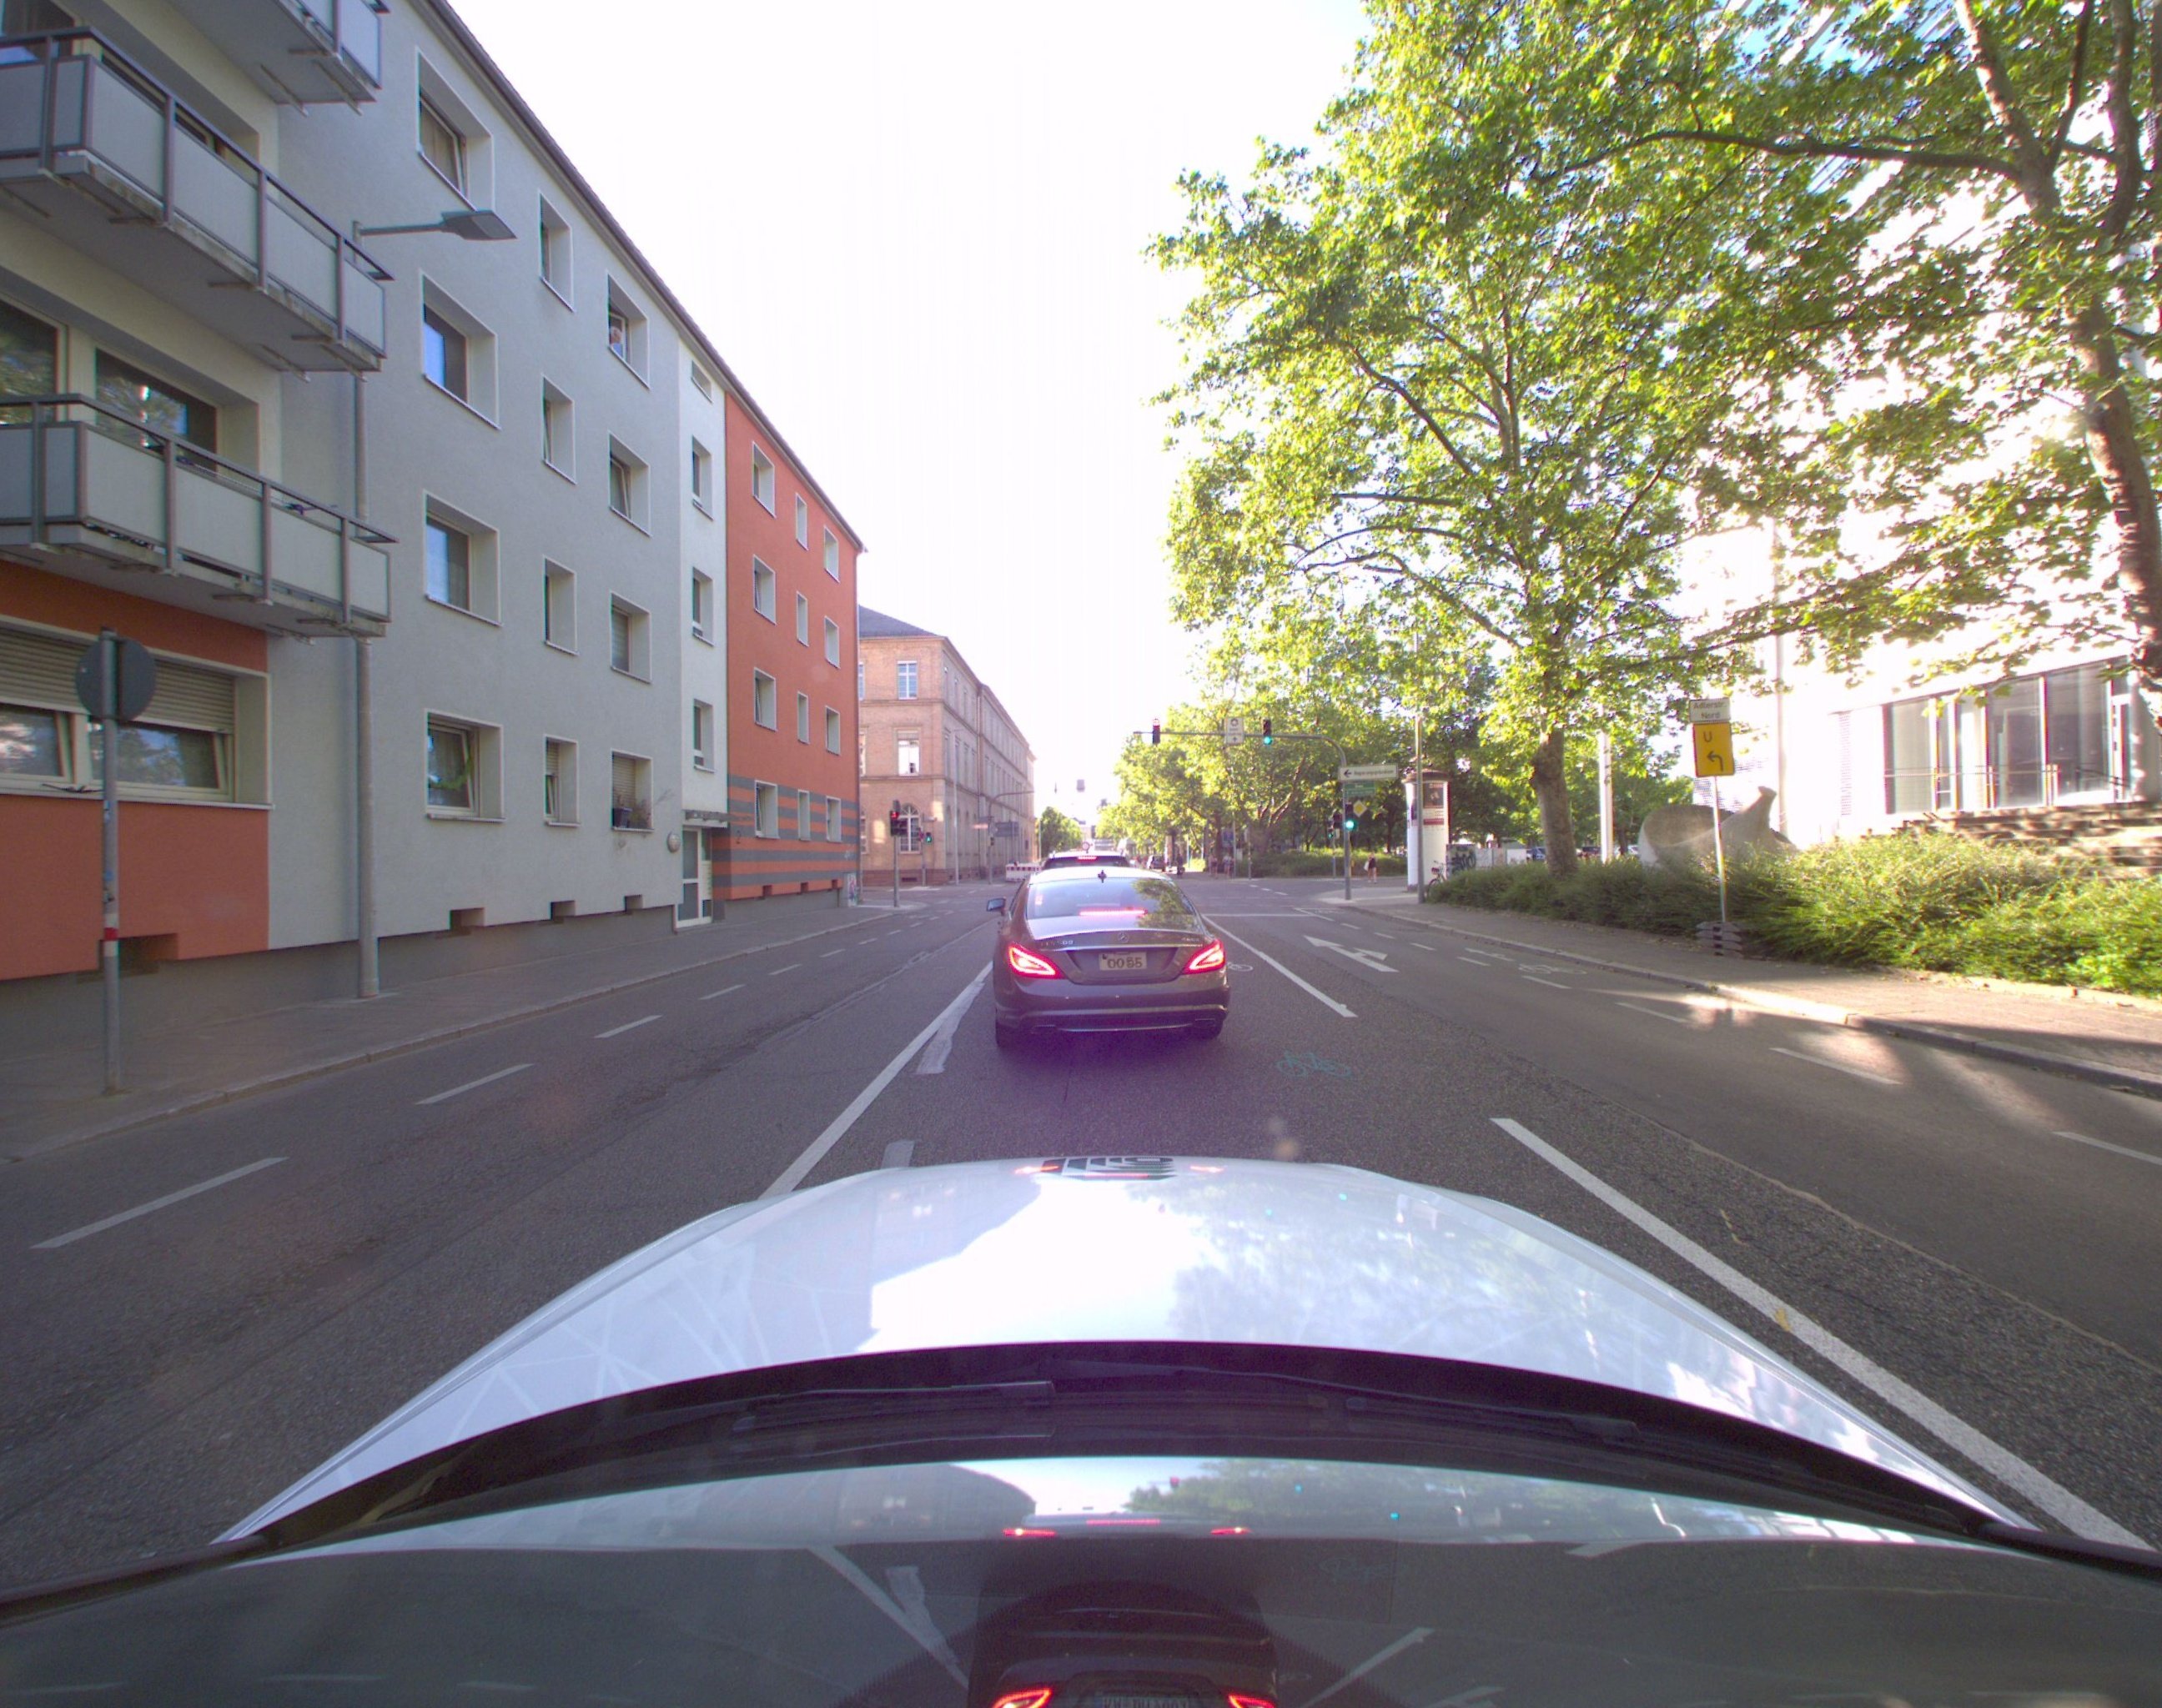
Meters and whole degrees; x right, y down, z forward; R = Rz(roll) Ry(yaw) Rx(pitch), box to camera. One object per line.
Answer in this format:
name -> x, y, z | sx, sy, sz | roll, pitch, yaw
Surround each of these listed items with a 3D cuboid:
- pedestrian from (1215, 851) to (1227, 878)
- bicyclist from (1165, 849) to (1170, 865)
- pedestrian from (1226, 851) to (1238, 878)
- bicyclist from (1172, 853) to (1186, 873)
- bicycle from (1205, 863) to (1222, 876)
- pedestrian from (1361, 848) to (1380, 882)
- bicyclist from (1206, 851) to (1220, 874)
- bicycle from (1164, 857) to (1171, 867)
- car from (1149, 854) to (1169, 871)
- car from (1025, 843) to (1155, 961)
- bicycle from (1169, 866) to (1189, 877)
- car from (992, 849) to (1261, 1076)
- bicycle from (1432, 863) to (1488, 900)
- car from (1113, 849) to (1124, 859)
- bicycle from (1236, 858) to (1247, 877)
pedestrian -> 9.337, 0.684, 54.437 | 0.634, 1.797, 0.698 | 0, -1, -2
bicyclist -> 11.154, 0.363, 104.958 | 0.593, 2.039, 0.566 | 0, -1, -3
pedestrian -> 10.006, 0.673, 54.139 | 0.634, 1.760, 0.698 | 0, -1, -2
bicyclist -> 6.999, 0.662, 58.022 | 0.726, 1.398, 0.703 | -1, -1, 30
bicycle -> 9.500, 1.094, 58.502 | 0.825, 0.924, 2.618 | 0, -1, 2
pedestrian -> 13.573, 0.505, 38.184 | 0.632, 1.545, 0.911 | 0, -1, 5
bicyclist -> 9.478, 0.591, 58.414 | 0.822, 1.618, 0.958 | 0, -1, 1
bicycle -> 11.171, 1.016, 104.898 | 0.590, 1.263, 1.804 | 0, -1, -3
car -> 8.359, 0.906, 88.019 | 1.854, 1.764, 4.483 | -1, 0, 2
car -> 0.192, 0.697, 13.736 | 1.854, 1.682, 4.002 | -1, 0, 2
bicycle -> 7.015, 1.229, 58.041 | 0.716, 0.791, 1.940 | -1, -1, 30
car -> 0.144, 0.737, 7.601 | 1.859, 1.519, 3.992 | -1, 0, -6
bicycle -> 10.984, 0.782, 23.575 | 1.895, 1.028, 0.635 | 0, -1, -36
car -> 6.149, -0.013, 135.149 | 1.725, 1.662, 3.682 | 0, -1, 2
bicycle -> 10.616, 0.880, 53.980 | 0.480, 1.202, 1.607 | 0, -1, 2
